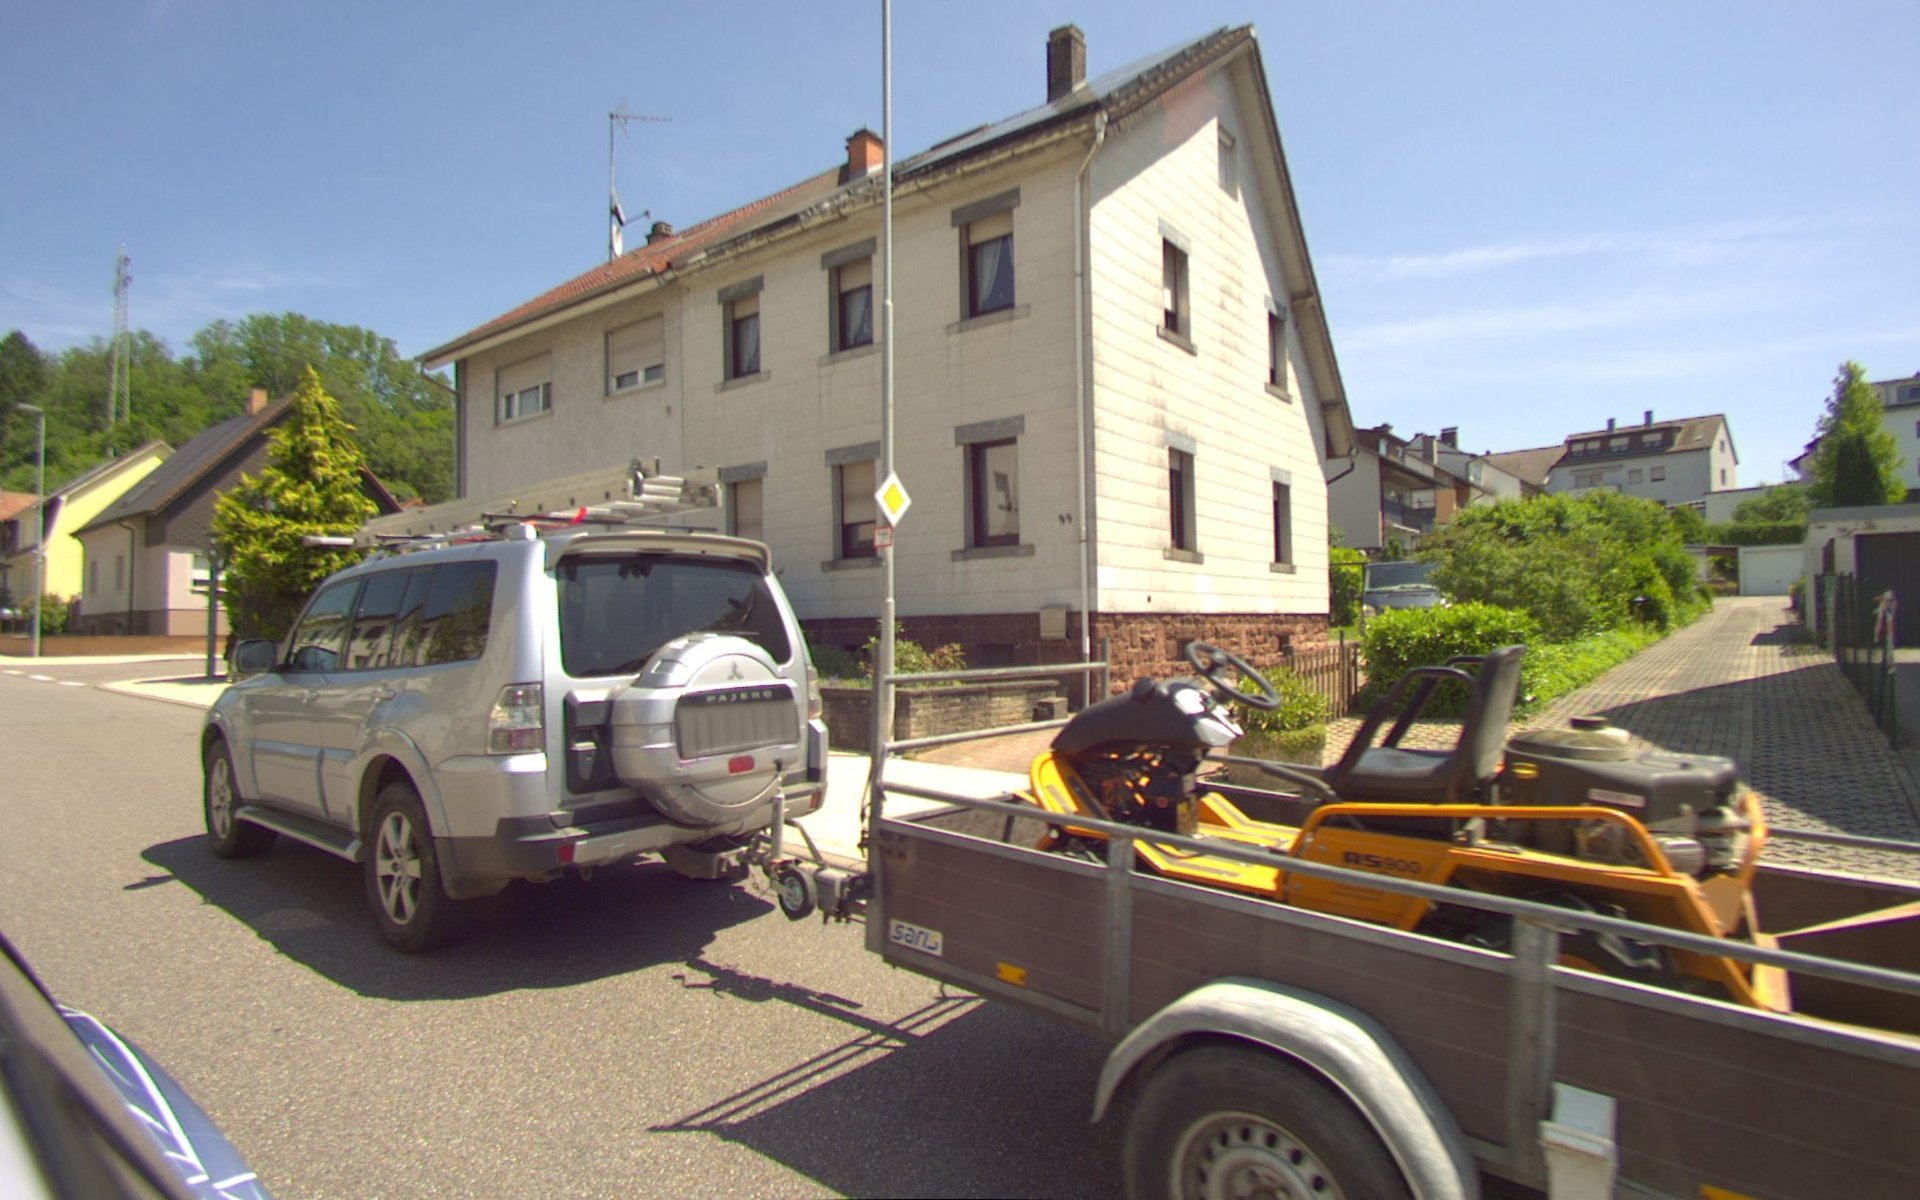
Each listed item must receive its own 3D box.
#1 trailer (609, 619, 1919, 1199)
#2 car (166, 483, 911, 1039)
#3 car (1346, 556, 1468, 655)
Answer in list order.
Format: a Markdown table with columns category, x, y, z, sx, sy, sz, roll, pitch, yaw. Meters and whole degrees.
| category | x | y | z | sx | sy | sz | roll | pitch | yaw |
| --- | --- | --- | --- | --- | --- | --- | --- | --- | --- |
| trailer | 0.982 | 0.764 | 2.680 | 4.398 | 1.406 | 1.559 | -1 | -2 | 40 |
| car | -2.588 | 0.602 | 5.611 | 4.573 | 1.875 | 1.871 | -1 | -2 | 39 |
| car | 9.448 | 0.207 | 21.187 | 1.991 | 1.847 | 4.286 | -1 | -3 | 29 |
